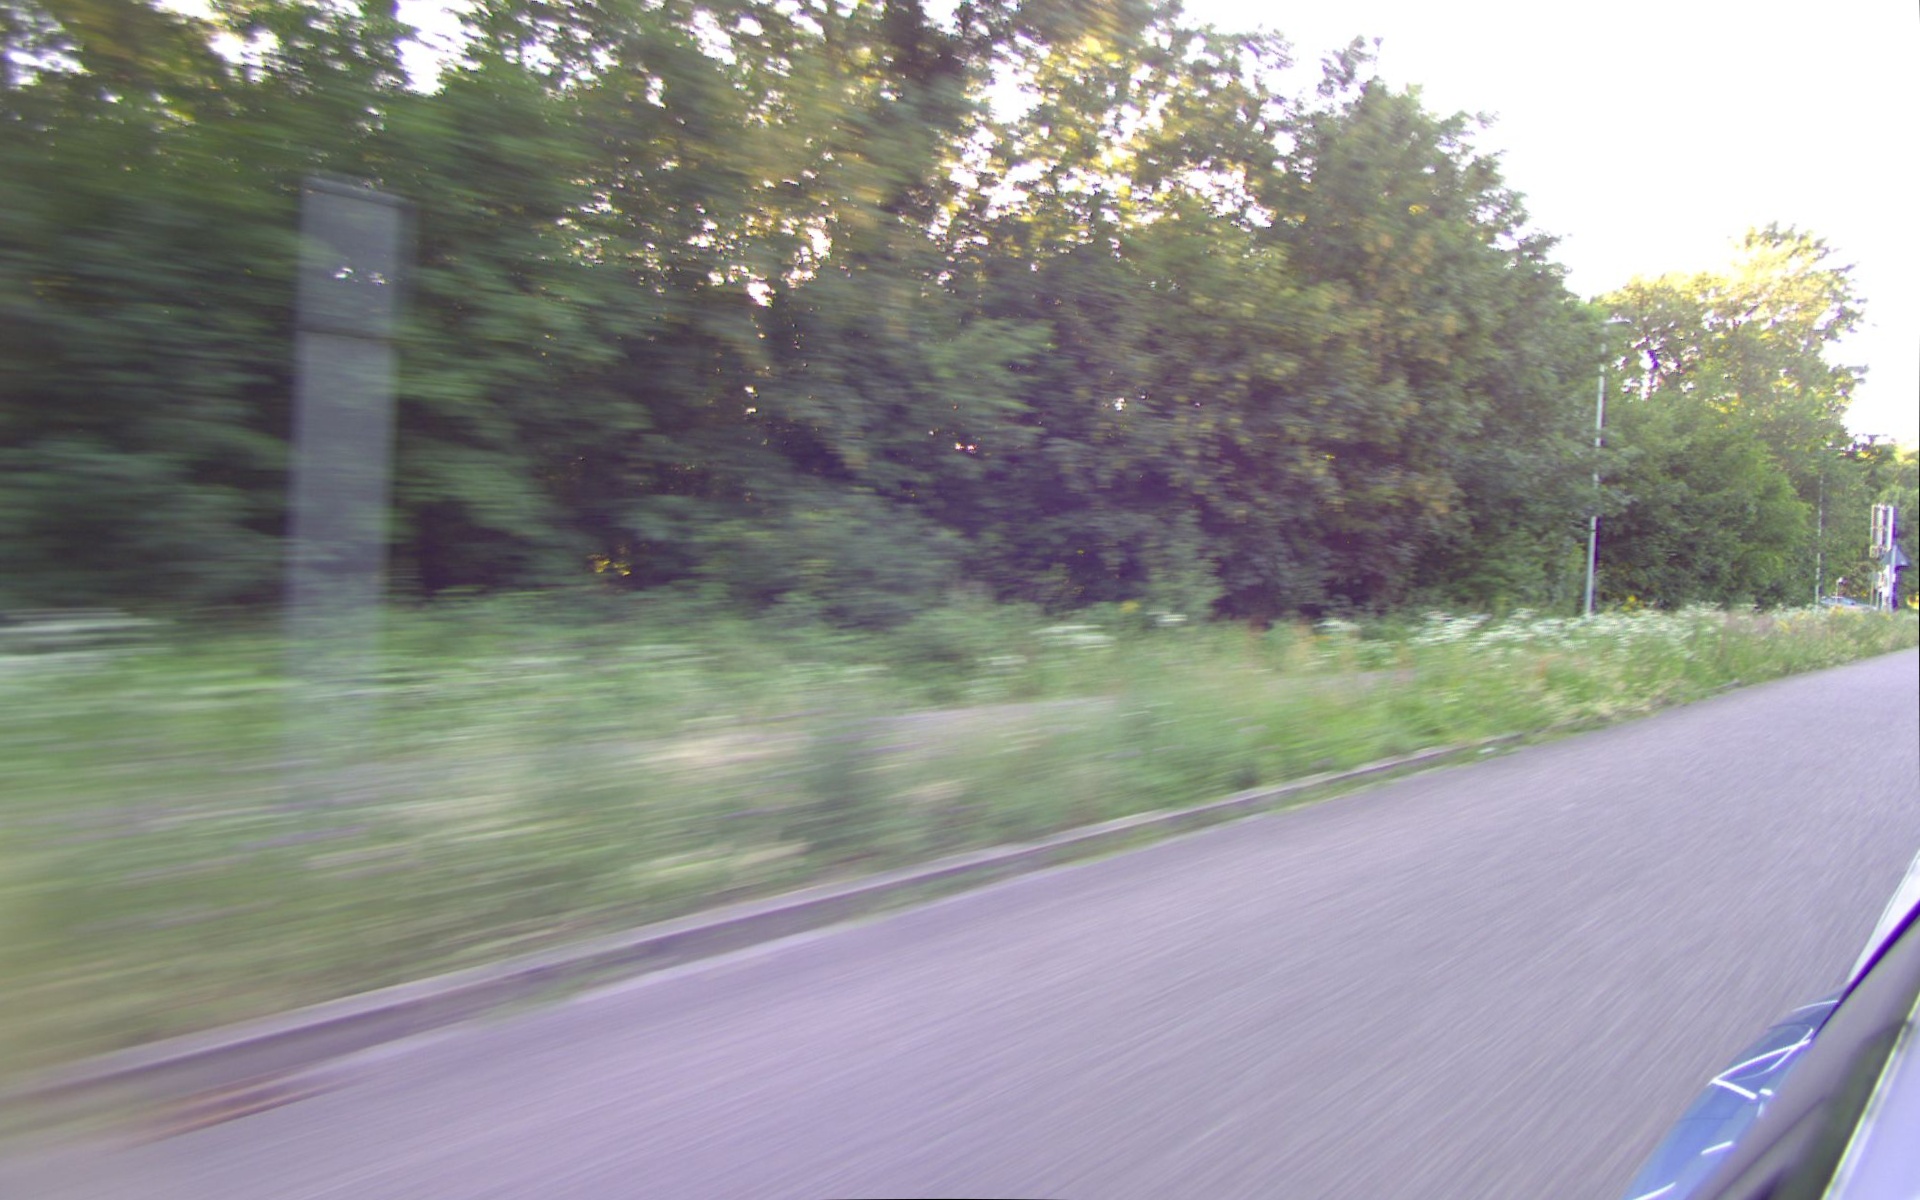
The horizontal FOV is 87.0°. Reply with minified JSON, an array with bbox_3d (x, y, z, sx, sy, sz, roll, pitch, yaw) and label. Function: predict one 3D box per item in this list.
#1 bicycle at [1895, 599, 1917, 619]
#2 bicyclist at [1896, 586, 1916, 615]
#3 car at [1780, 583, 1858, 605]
[{"bbox_3d":[49.871,0.470,53.367,1.661,1.007,0.612,-1,3,-40],"label":"bicycle"},{"bbox_3d":[49.927,0.012,53.419,0.766,1.473,0.605,0,2,-40],"label":"bicyclist"},{"bbox_3d":[64.564,-0.459,76.147,4.039,1.422,1.854,3,4,29],"label":"car"}]
